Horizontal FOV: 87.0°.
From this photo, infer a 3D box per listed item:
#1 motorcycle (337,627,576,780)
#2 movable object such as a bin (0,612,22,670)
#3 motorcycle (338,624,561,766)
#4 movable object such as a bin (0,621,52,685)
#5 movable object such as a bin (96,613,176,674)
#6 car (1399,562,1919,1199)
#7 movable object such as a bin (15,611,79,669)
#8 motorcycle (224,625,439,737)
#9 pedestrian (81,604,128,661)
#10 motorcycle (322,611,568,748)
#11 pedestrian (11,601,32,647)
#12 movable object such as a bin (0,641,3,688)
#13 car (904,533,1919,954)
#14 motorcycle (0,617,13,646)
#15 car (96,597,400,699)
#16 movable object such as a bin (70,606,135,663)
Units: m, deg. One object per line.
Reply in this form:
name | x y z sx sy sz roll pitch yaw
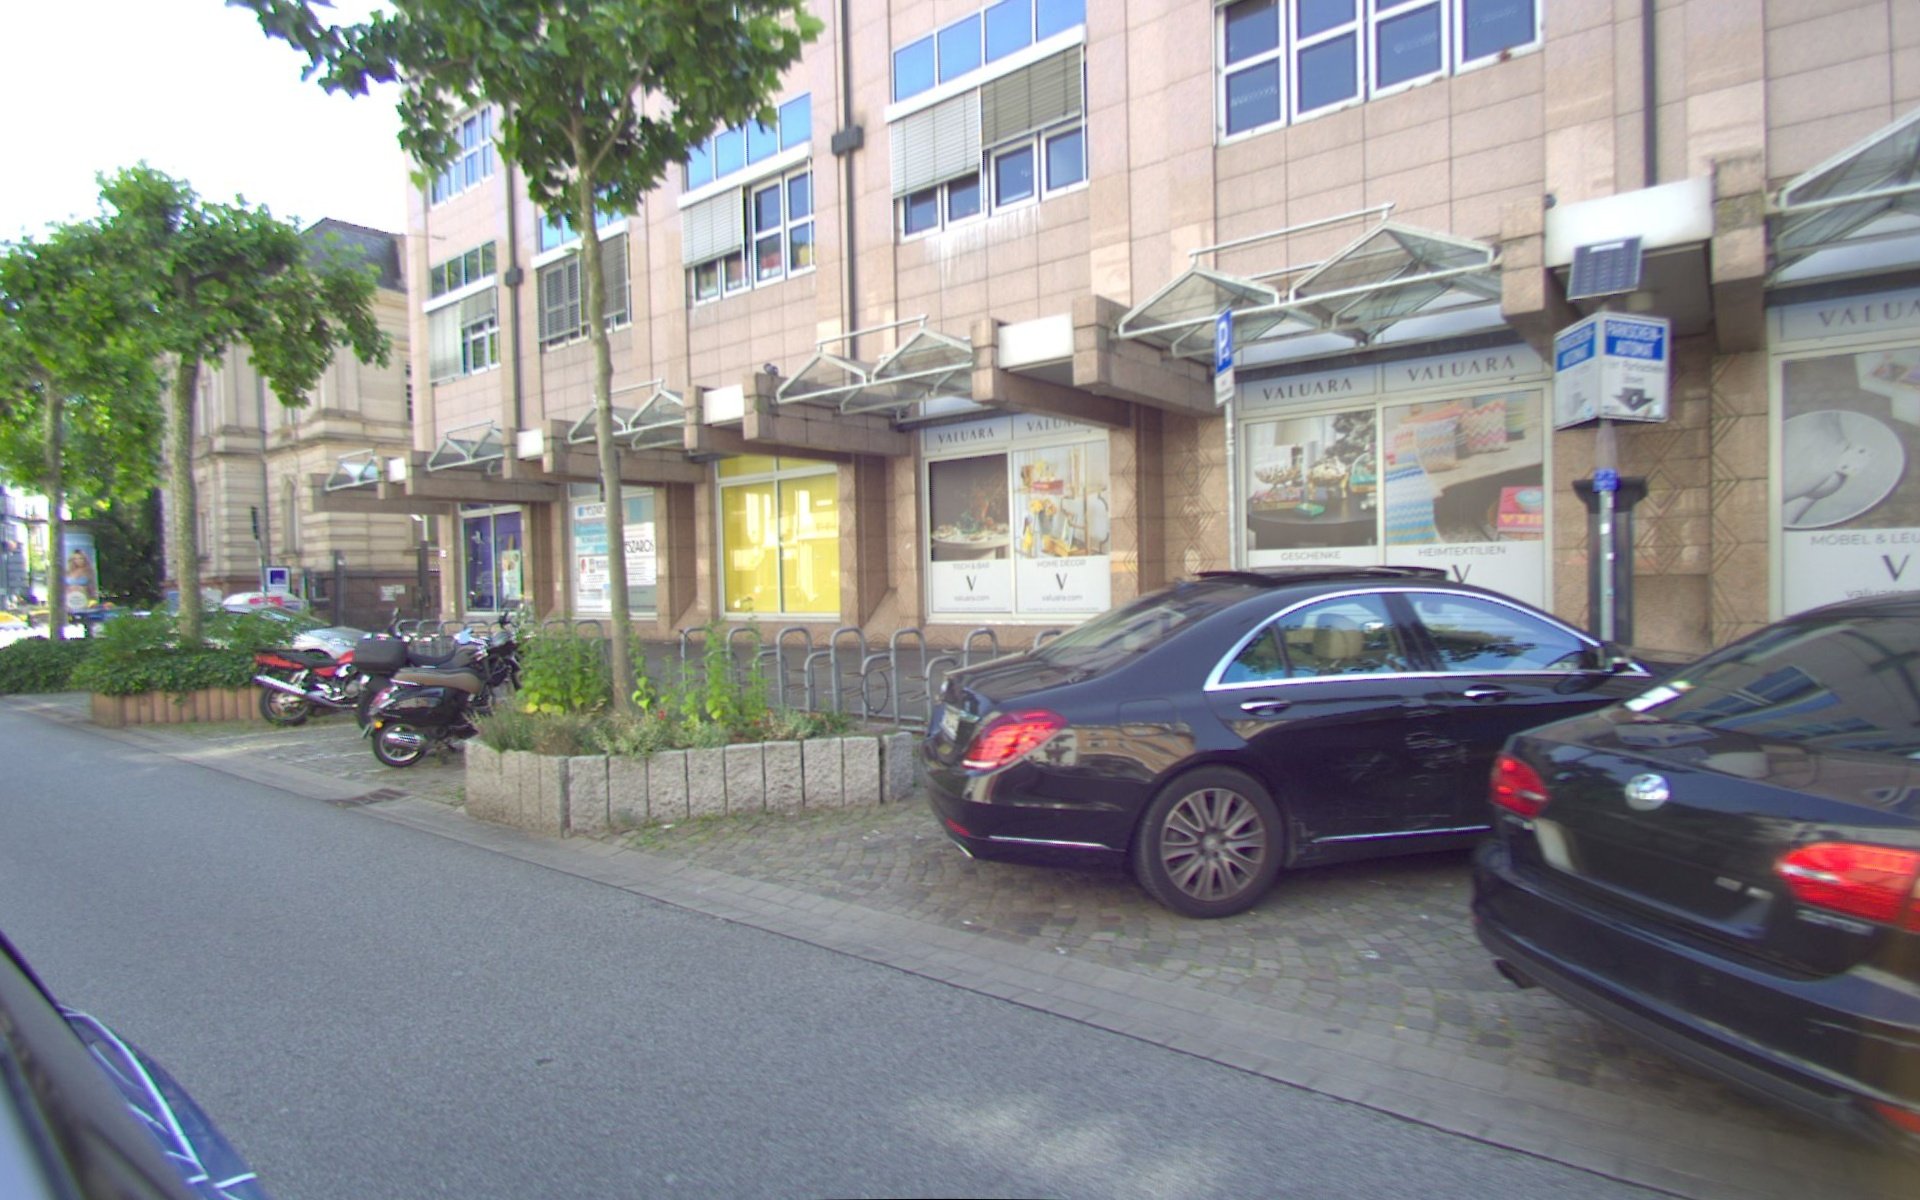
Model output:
motorcycle | -4.673 0.902 9.440 1.884 1.178 0.762 -3 1 -31
movable object such as a bin | -25.559 1.104 26.663 1.439 1.461 1.111 -2 2 44
motorcycle | -5.062 0.894 10.085 1.884 1.178 0.730 -3 1 -31
movable object such as a bin | -20.687 1.148 21.997 0.852 1.309 1.265 -1 1 38
movable object such as a bin | -19.435 1.017 23.871 1.078 1.309 1.197 -3 2 39
car | 4.029 0.576 2.979 4.719 1.433 1.888 -3 1 -11
movable object such as a bin | -24.788 1.076 27.471 1.439 1.461 1.111 -2 2 44
motorcycle | -7.842 0.977 12.775 2.142 1.178 0.923 -3 1 -24
pedestrian | -26.997 1.021 31.945 0.746 1.738 0.882 -1 1 32
motorcycle | -5.810 0.826 11.468 2.313 1.277 1.298 -3 1 -31
pedestrian | -35.464 0.891 38.228 0.542 1.677 0.938 -2 2 -43
movable object such as a bin | -19.901 1.321 20.517 0.495 0.946 0.553 -1 -1 13
car | 2.169 0.546 5.463 4.681 1.544 1.995 -3 1 -9
motorcycle | -35.865 1.158 37.902 0.448 1.005 2.163 -4 3 -42
car | -12.648 0.801 18.253 3.992 1.505 1.940 -3 1 -10
movable object such as a bin | -23.906 0.949 28.215 1.364 1.461 1.195 -2 2 44
